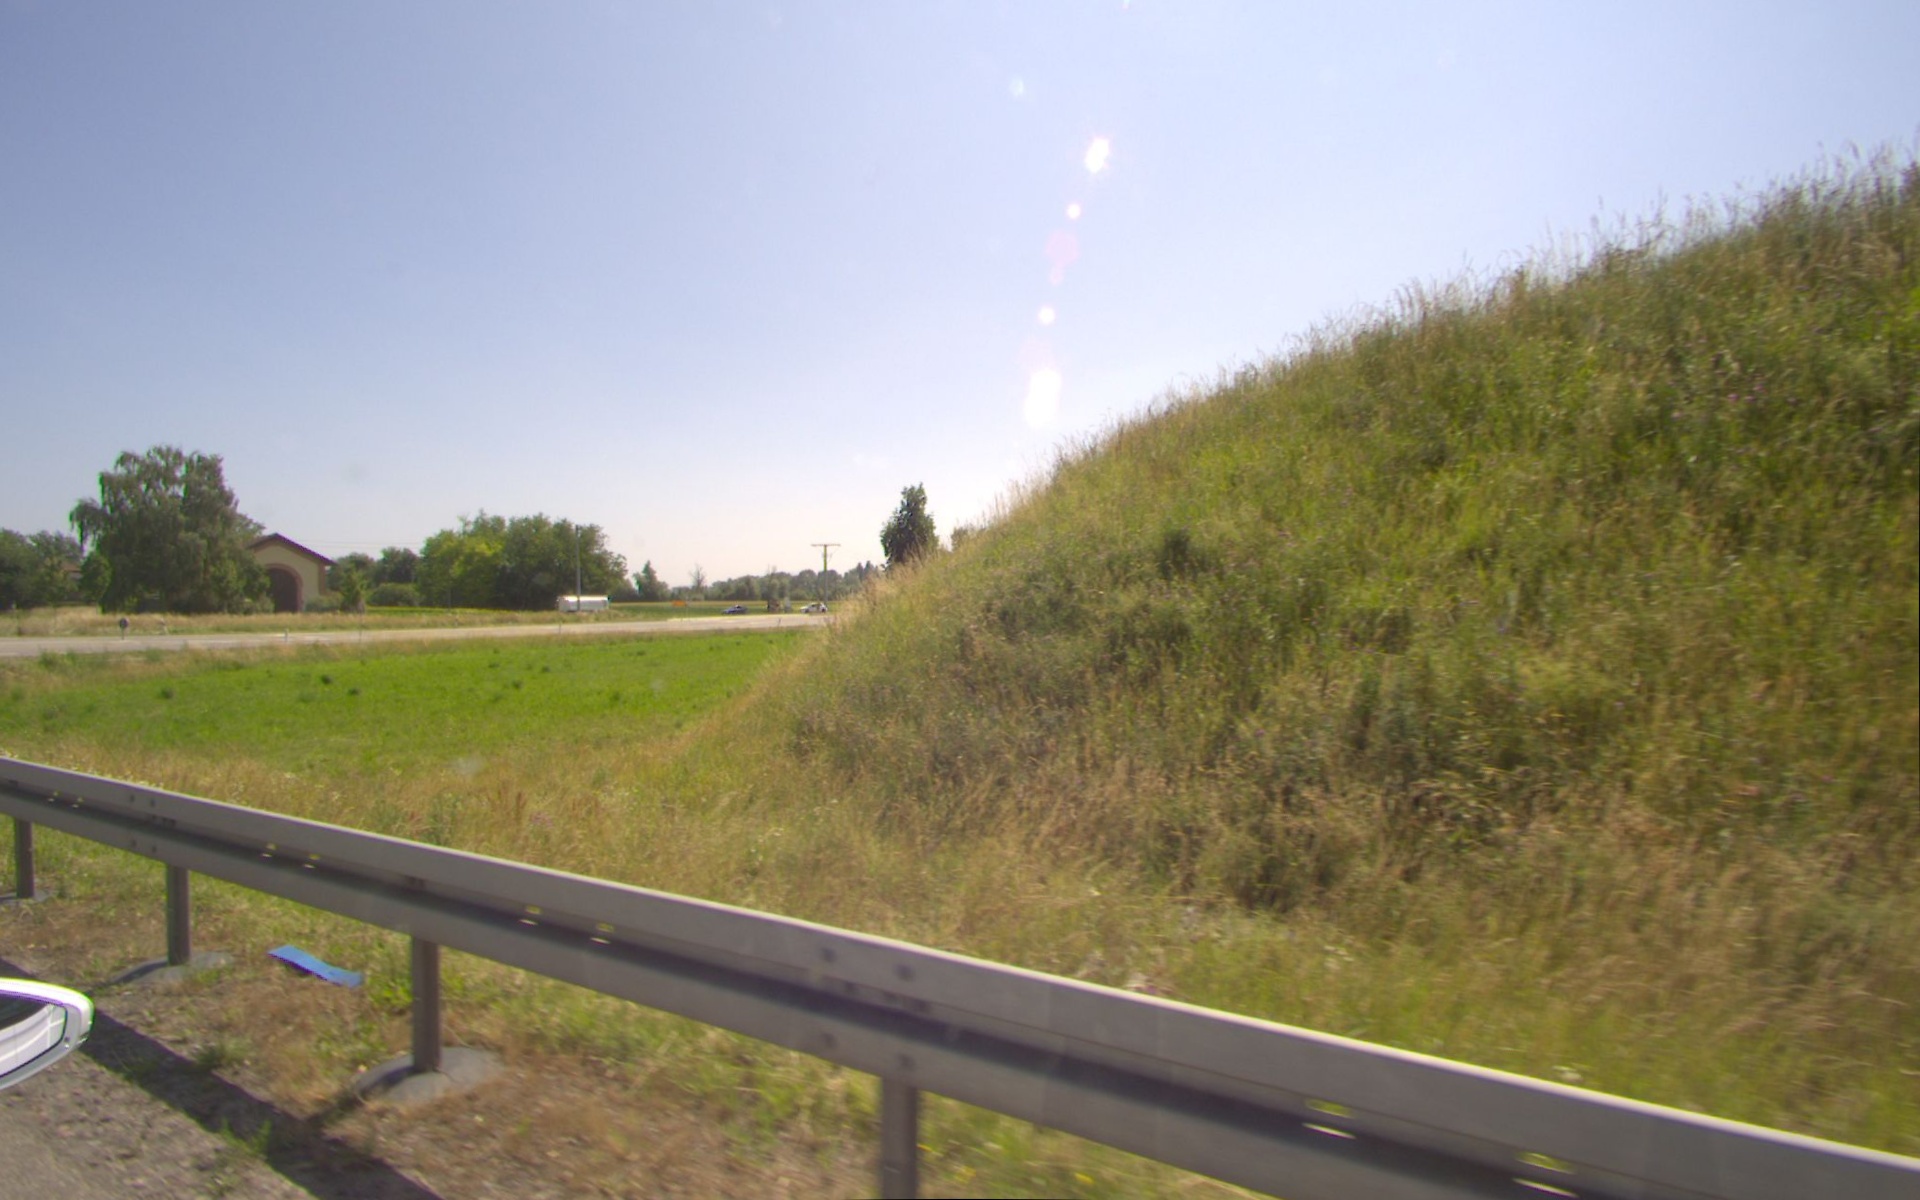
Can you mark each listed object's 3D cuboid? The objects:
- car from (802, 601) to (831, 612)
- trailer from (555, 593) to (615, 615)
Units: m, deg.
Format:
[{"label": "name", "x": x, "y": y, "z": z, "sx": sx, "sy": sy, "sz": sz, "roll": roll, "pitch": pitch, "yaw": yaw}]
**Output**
[{"label": "car", "x": -20.404, "y": 0.908, "z": 142.494, "sx": 3.963, "sy": 1.350, "sz": 1.694, "roll": 1, "pitch": 1, "yaw": -12}, {"label": "trailer", "x": -44.499, "y": 0.447, "z": 118.922, "sx": 2.651, "sy": 2.489, "sz": 6.338, "roll": 2, "pitch": 2, "yaw": 37}]
